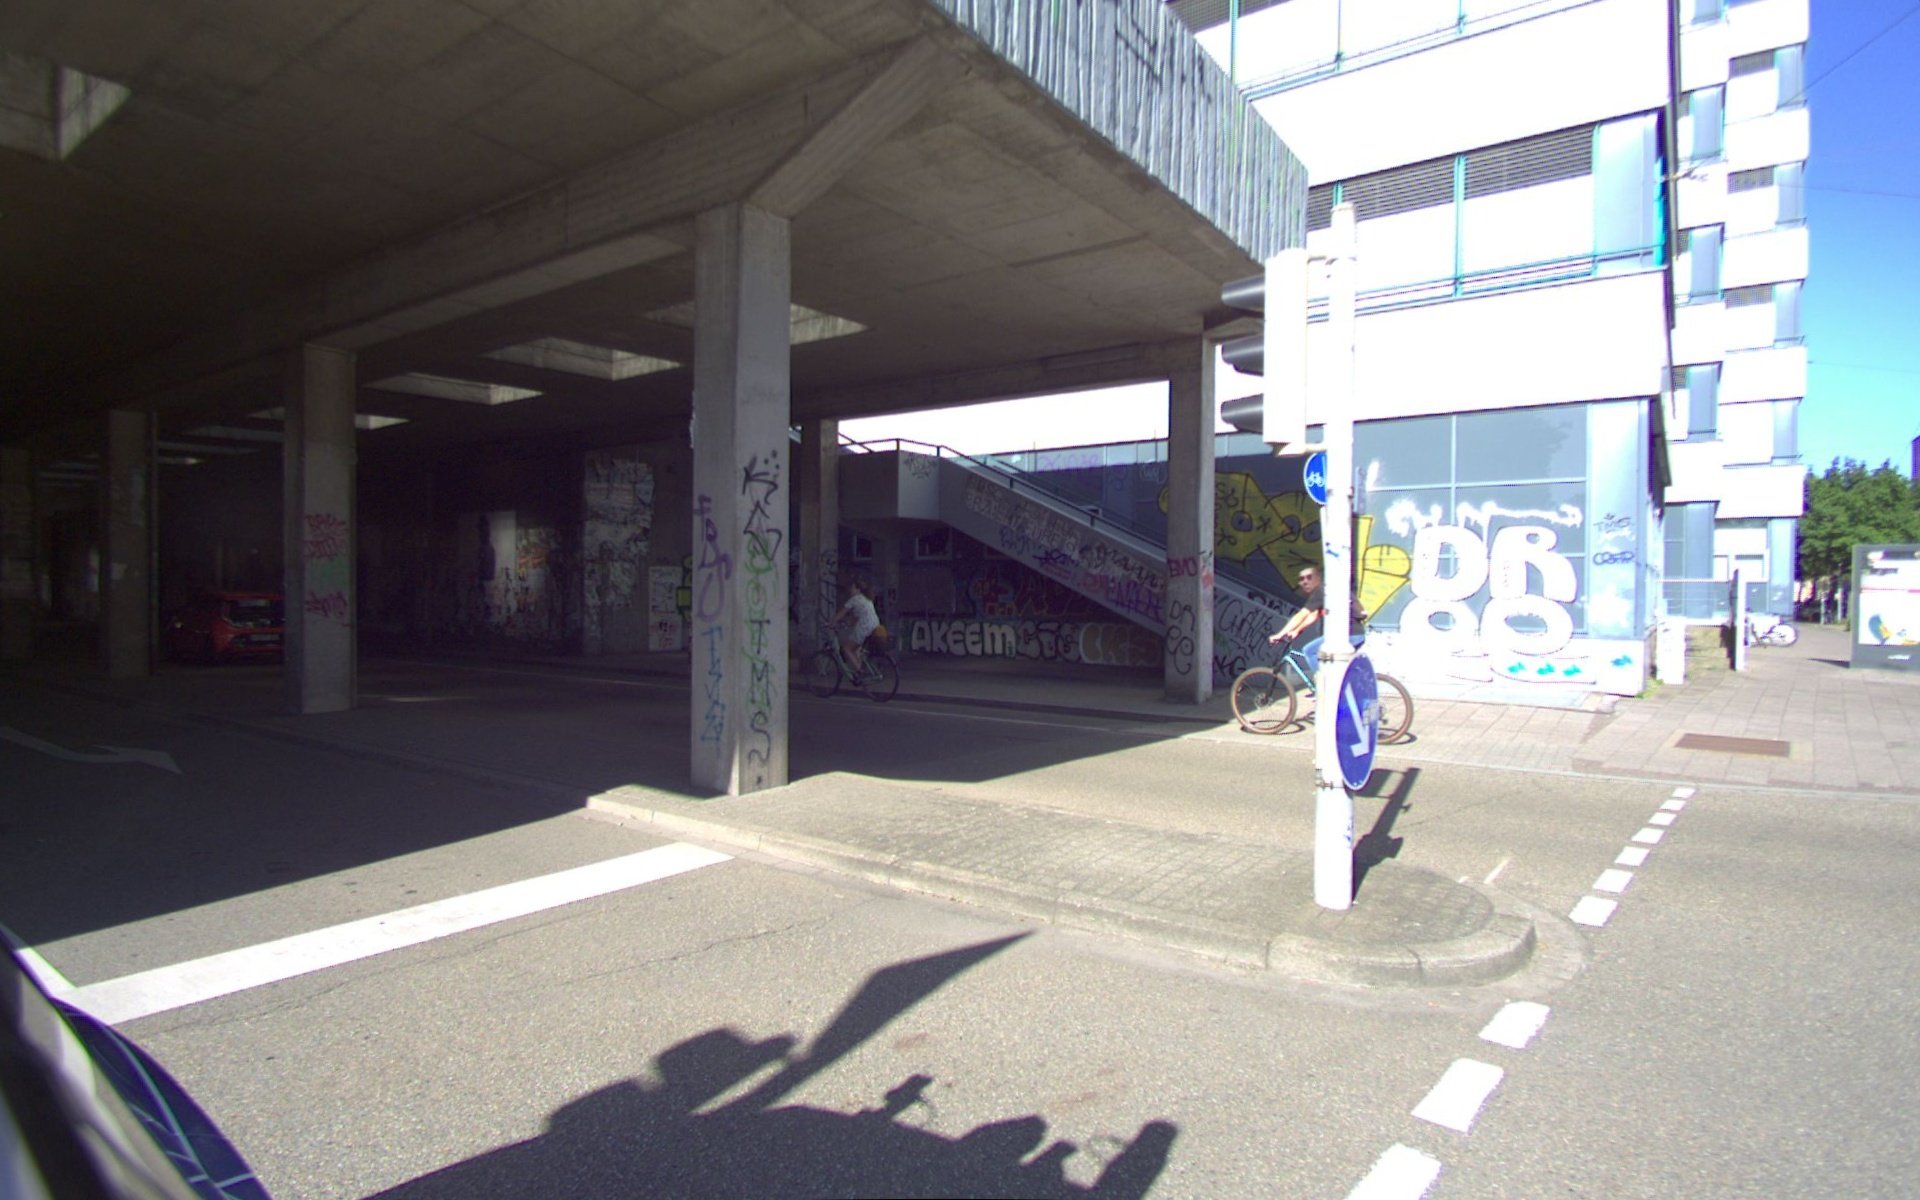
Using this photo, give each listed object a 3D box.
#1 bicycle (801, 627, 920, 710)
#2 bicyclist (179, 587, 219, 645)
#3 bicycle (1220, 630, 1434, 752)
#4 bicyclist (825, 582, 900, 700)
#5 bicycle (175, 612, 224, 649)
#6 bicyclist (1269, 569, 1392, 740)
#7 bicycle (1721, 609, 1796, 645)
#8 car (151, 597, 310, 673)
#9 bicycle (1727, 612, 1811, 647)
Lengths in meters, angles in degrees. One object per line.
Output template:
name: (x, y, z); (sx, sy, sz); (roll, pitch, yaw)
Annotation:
bicycle: (-1.463, 0.959, 14.617); (1.857, 1.098, 0.521); (0, 0, 37)
bicyclist: (-23.329, 0.497, 31.030); (0.965, 1.724, 0.739); (-2, -2, 36)
bicycle: (3.803, 0.904, 10.609); (2.056, 1.131, 0.536); (0, 0, 39)
bicyclist: (-1.407, 0.569, 14.578); (0.908, 1.645, 0.600); (0, 0, 37)
bicycle: (-23.322, 0.941, 31.021); (1.856, 1.098, 0.692); (-2, -2, 36)
bicyclist: (3.862, 0.533, 10.545); (1.029, 1.673, 0.774); (0, 0, 38)
bicycle: (23.236, 0.776, 29.455); (0.480, 0.988, 1.667); (-1, 1, -44)
car: (-15.013, 0.661, 20.794); (3.456, 1.452, 1.643); (0, 0, 36)
bicycle: (24.106, 0.863, 30.187); (0.480, 0.988, 1.901); (-1, 1, -44)
